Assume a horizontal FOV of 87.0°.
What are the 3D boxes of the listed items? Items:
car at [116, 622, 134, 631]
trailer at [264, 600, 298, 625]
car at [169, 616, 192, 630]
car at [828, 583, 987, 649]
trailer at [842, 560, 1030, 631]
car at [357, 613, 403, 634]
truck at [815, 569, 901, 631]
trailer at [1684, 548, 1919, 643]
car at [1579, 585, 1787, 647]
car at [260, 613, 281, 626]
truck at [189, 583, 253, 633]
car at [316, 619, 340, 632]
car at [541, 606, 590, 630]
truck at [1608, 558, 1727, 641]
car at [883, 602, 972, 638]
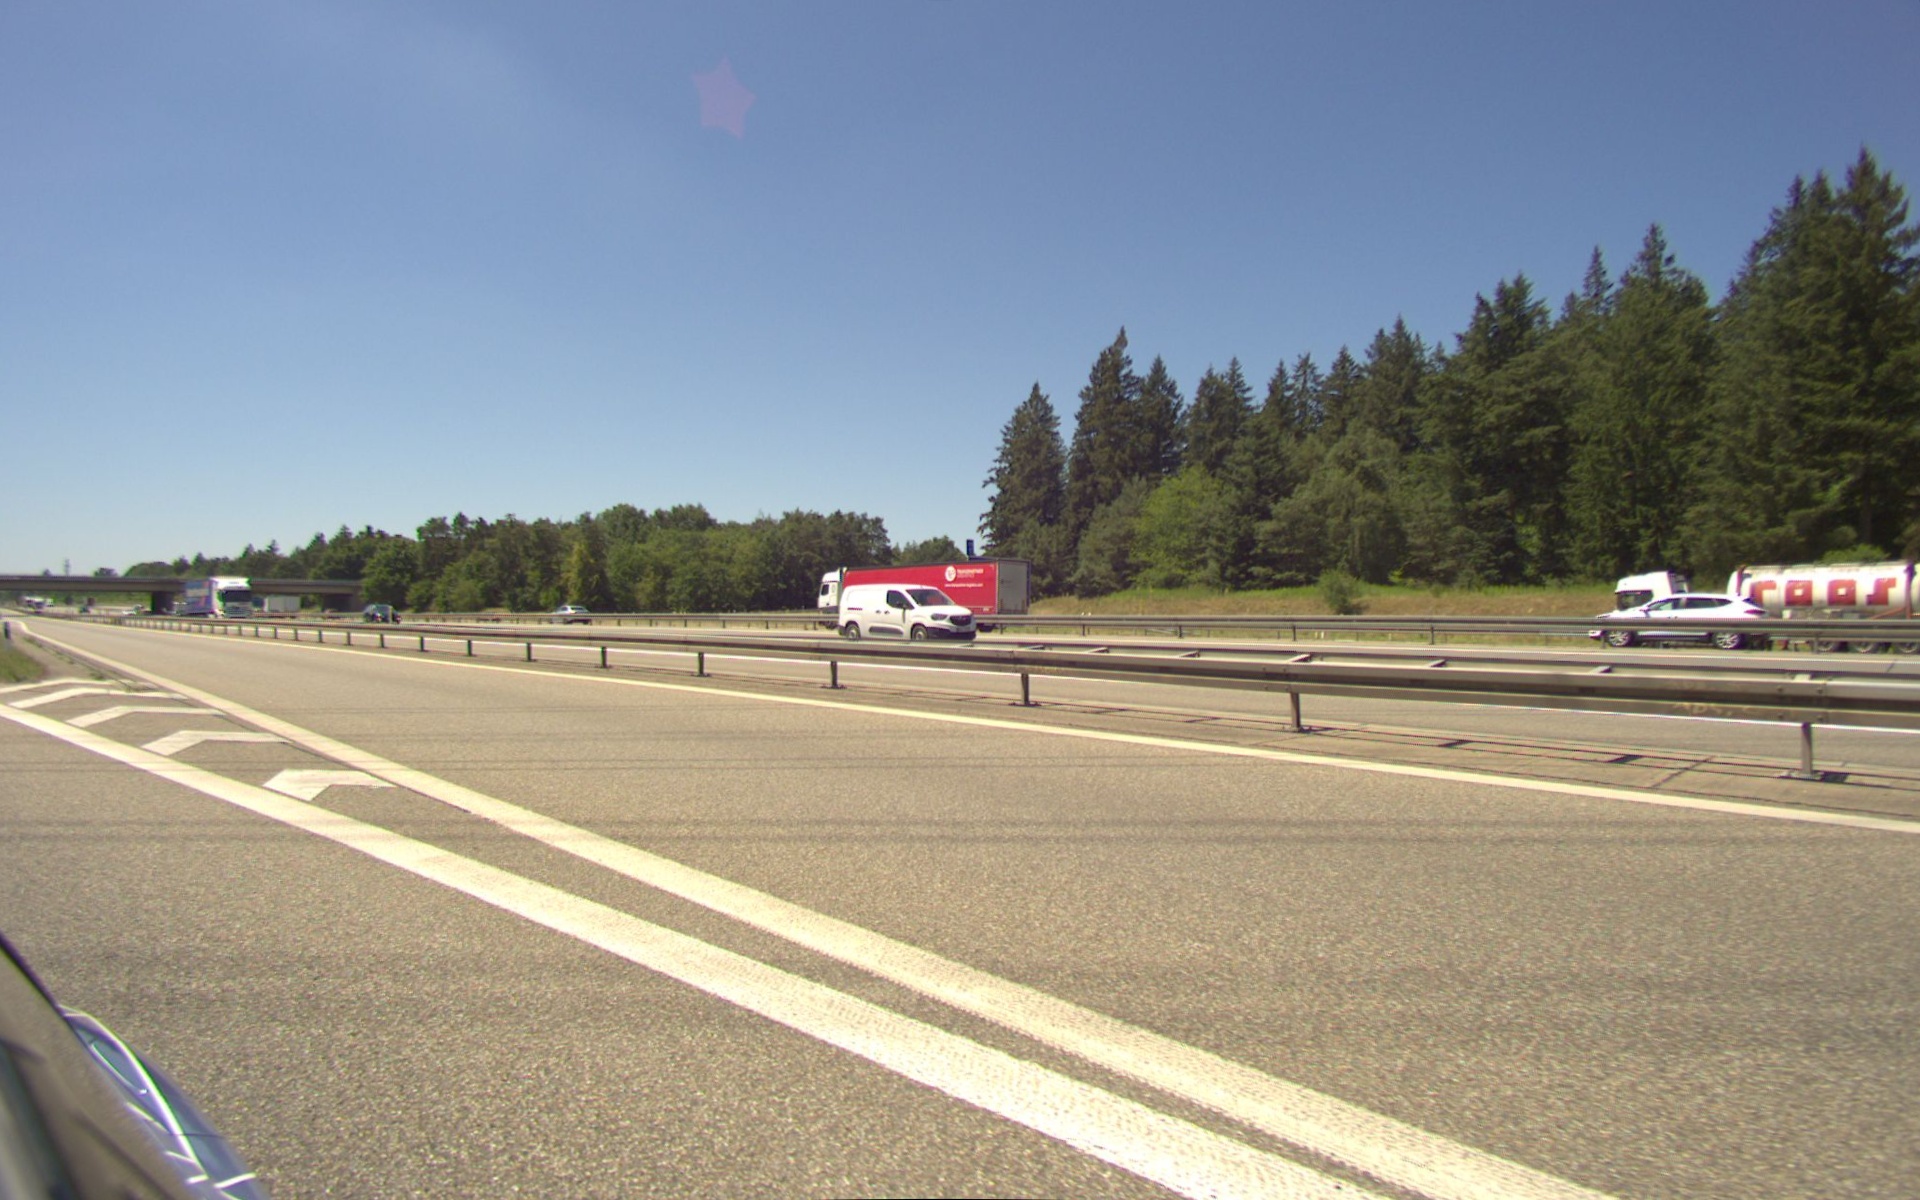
[{"bbox_3d":[-146.084,4.615,177.047,4.000,1.580,1.972,-1,-1,43],"label":"car"},{"bbox_3d":[-124.083,2.230,184.793,2.889,4.421,14.312,3,-2,-43],"label":"trailer"},{"bbox_3d":[-102.034,2.953,132.483,1.970,1.730,4.003,0,0,-44],"label":"car"},{"bbox_3d":[-1.625,0.456,29.502,1.751,1.767,5.022,0,-1,-45],"label":"car"},{"bbox_3d":[-1.835,-0.080,60.380,2.512,3.826,13.750,0,-1,-44],"label":"trailer"},{"bbox_3d":[-45.194,1.806,78.843,4.242,1.486,1.972,-1,0,43],"label":"car"},{"bbox_3d":[-6.620,0.067,65.301,2.512,3.826,5.672,0,-1,-44],"label":"truck"},{"bbox_3d":[37.470,-0.121,44.279,2.737,3.827,8.952,0,-1,-39],"label":"trailer"},{"bbox_3d":[21.483,0.423,30.221,1.751,1.696,4.828,0,1,-45],"label":"car"},{"bbox_3d":[-105.704,2.985,155.142,1.970,1.863,4.361,1,-2,-44],"label":"car"},{"bbox_3d":[-63.719,0.701,87.148,11.052,4.089,2.672,-1,-1,45],"label":"truck"},{"bbox_3d":[-89.290,3.585,142.992,4.001,1.741,1.939,0,-2,44],"label":"car"},{"bbox_3d":[-30.483,1.346,78.095,1.751,1.696,4.829,0,1,-44],"label":"car"},{"bbox_3d":[33.973,0.013,48.683,2.732,3.826,4.008,0,-1,-38],"label":"truck"},{"bbox_3d":[-1.751,1.022,53.490,1.893,1.696,4.828,0,1,-45],"label":"car"}]
